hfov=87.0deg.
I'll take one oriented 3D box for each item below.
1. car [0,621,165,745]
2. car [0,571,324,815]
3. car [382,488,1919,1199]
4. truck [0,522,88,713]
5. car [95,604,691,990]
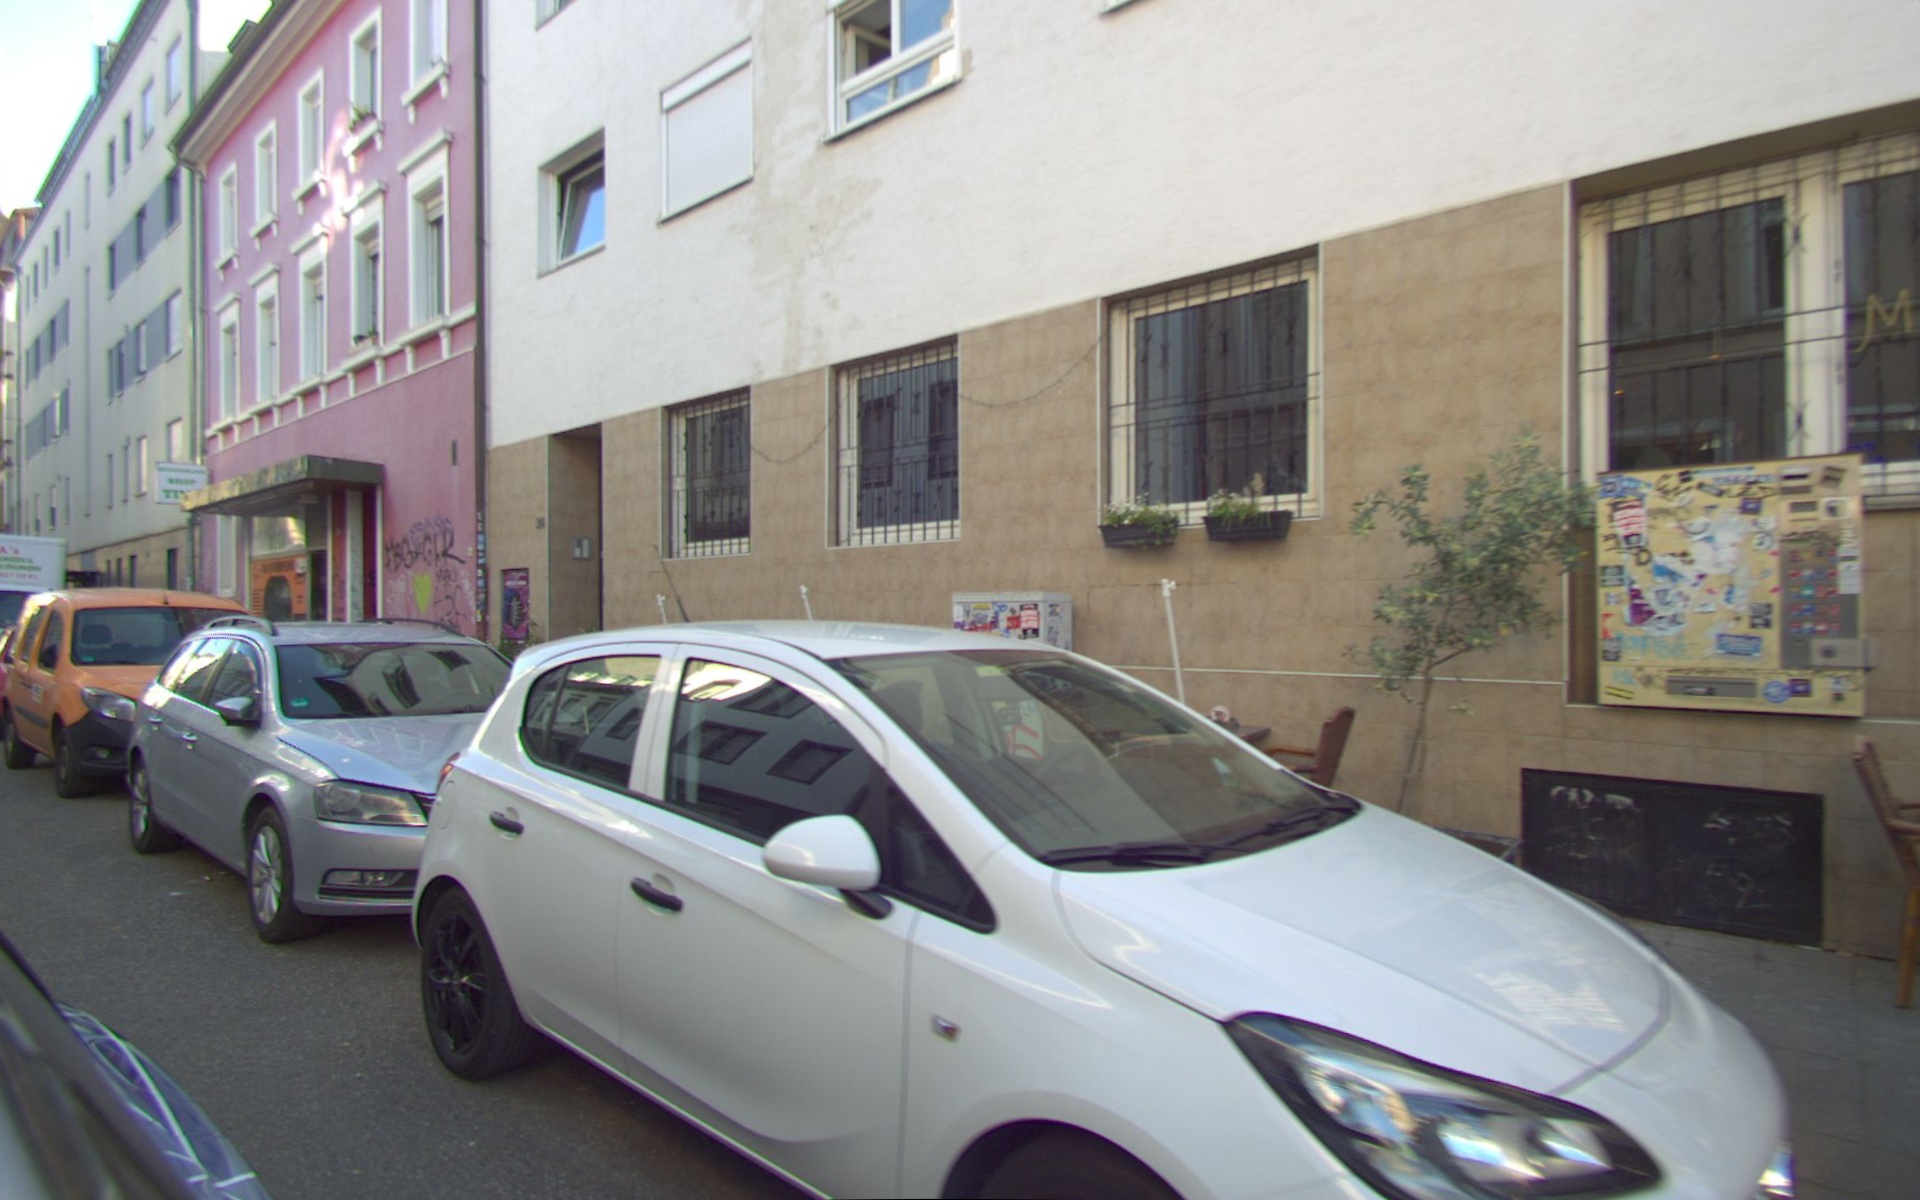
[{"bbox_3d":[-12.432,1.031,13.916,3.658,1.477,1.665,-1,-2,41],"label":"car"},{"bbox_3d":[-7.910,0.742,9.795,4.241,1.859,1.784,-1,-2,41],"label":"car"},{"bbox_3d":[0.047,0.717,2.805,3.816,1.566,1.659,-1,-2,41],"label":"car"},{"bbox_3d":[-18.716,0.328,19.303,7.043,3.207,2.266,-1,-2,42],"label":"truck"},{"bbox_3d":[-3.651,0.816,6.088,4.528,1.508,1.656,-1,-2,41],"label":"car"}]
